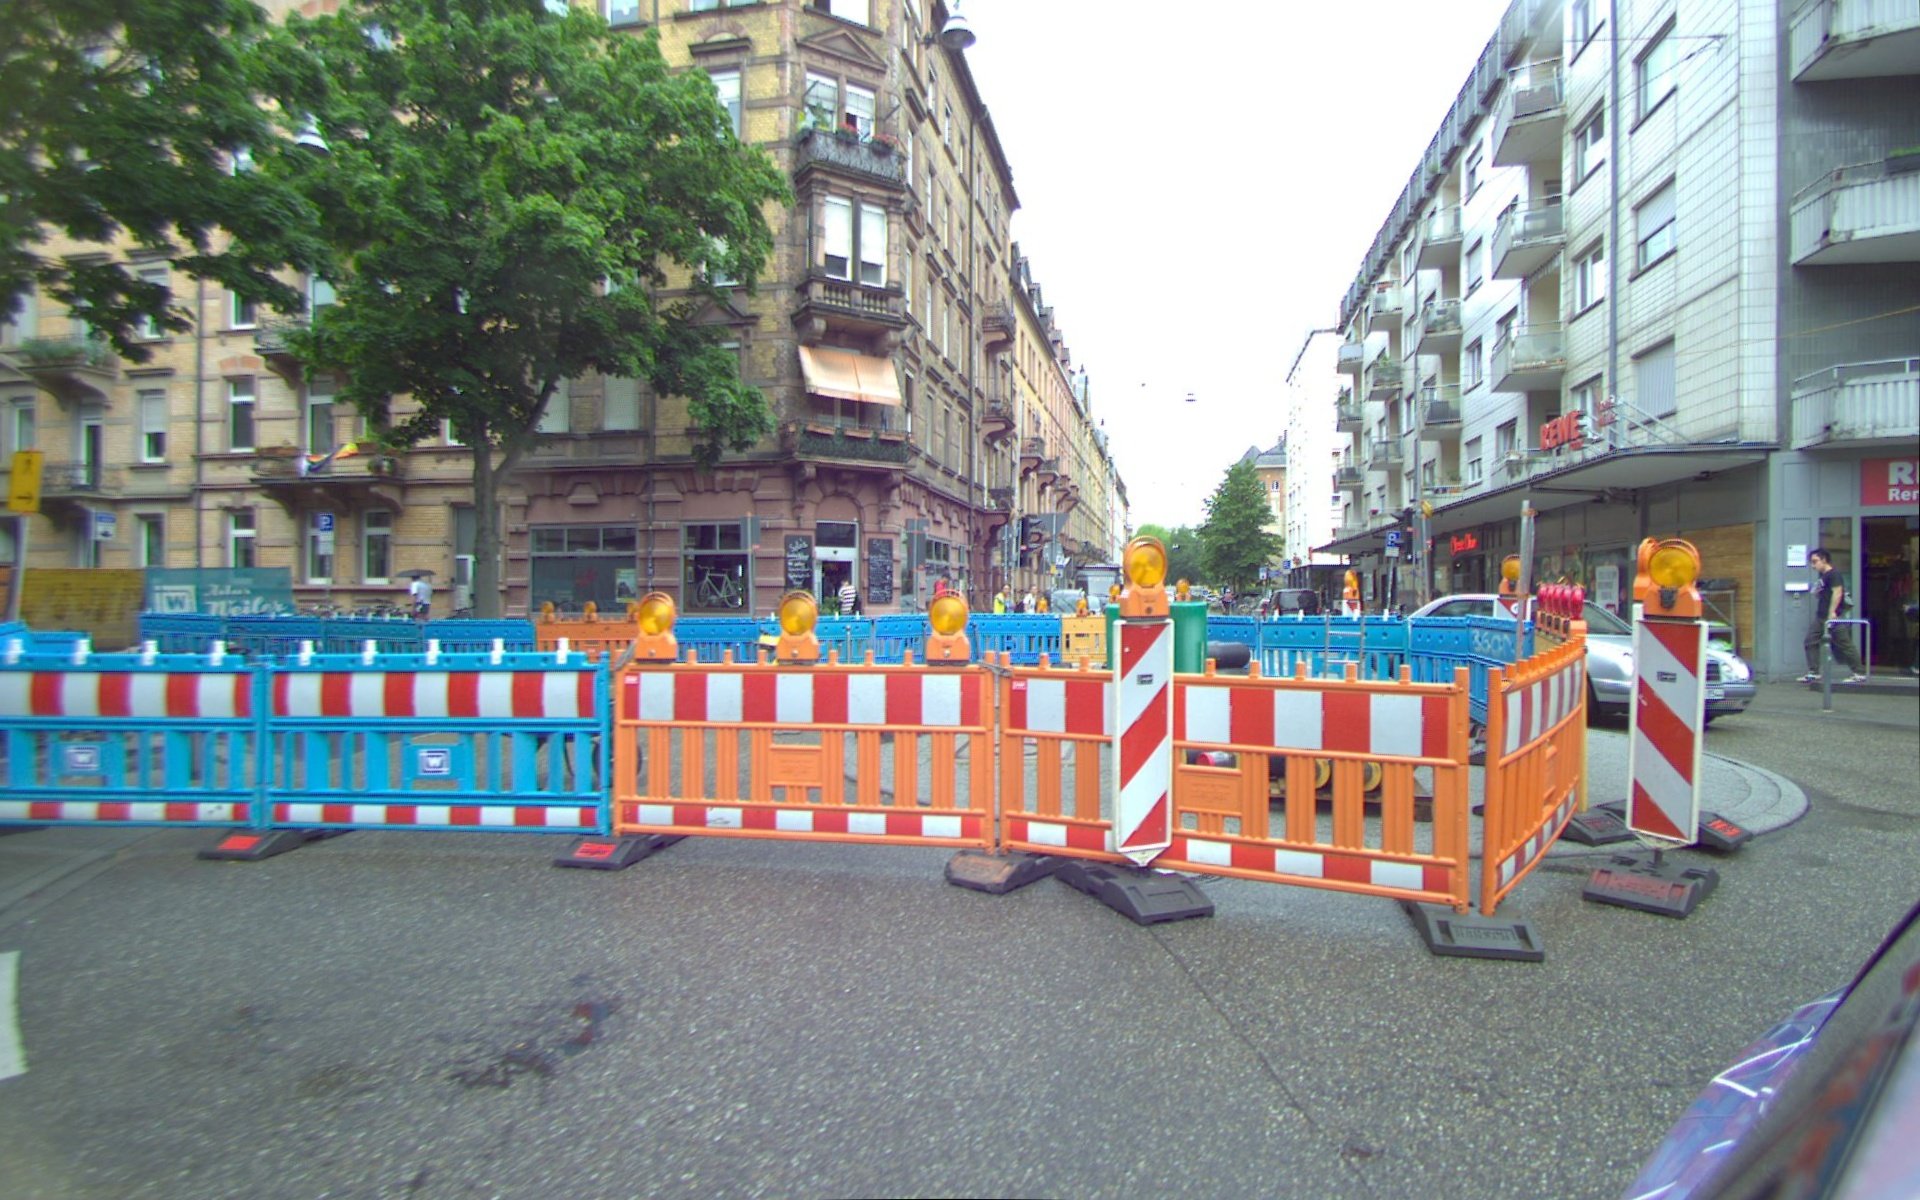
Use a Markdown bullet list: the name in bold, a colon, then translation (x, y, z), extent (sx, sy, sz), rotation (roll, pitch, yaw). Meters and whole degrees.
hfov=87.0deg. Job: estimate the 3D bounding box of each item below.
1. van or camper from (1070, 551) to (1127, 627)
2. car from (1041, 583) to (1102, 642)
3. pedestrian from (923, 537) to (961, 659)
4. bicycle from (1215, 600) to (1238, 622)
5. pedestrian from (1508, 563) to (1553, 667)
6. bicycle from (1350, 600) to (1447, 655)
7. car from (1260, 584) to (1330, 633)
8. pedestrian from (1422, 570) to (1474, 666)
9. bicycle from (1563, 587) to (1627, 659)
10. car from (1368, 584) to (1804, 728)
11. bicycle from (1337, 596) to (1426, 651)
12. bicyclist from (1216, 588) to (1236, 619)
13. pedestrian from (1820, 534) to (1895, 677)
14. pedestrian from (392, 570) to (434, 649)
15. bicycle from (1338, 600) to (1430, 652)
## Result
- **van or camper**: translation (6.690, -0.491, 48.349), extent (2.374, 3.369, 7.051), rotation (0, 0, 10)
- **car**: translation (3.707, 0.365, 33.181), extent (1.870, 1.812, 3.991), rotation (0, 0, 8)
- **pedestrian**: translation (-0.404, -0.041, 22.254), extent (0.681, 2.641, 0.541), rotation (0, 0, -19)
- **bicycle**: translation (14.510, 0.599, 55.231), extent (0.978, 1.170, 2.867), rotation (0, 0, 11)
- **pedestrian**: translation (10.535, 0.261, 18.705), extent (0.597, 1.871, 0.764), rotation (0, 0, 21)
- **bicycle**: translation (10.330, 0.643, 23.918), extent (1.997, 1.211, 0.547), rotation (-3, -1, 19)
- **car**: translation (13.066, 0.325, 39.694), extent (1.870, 1.812, 3.991), rotation (0, 0, 8)
- **pedestrian**: translation (9.704, 0.351, 20.139), extent (0.853, 1.871, 0.764), rotation (0, 0, 21)
- **bicycle**: translation (12.999, 0.457, 20.769), extent (0.444, 1.391, 2.015), rotation (-3, -1, 14)
- **car**: translation (7.277, 0.521, 12.590), extent (1.822, 1.416, 4.988), rotation (0, 1, -8)
- **bicycle**: translation (10.733, 0.600, 25.845), extent (1.997, 1.294, 0.547), rotation (-3, -1, 19)
- **bicyclist**: translation (14.508, 0.185, 55.225), extent (0.978, 1.620, 1.258), rotation (0, 0, 11)
- **pedestrian**: translation (12.471, 0.070, 14.066), extent (0.595, 1.921, 0.718), rotation (-1, 0, -42)
- **pedestrian**: translation (-13.655, 0.224, 25.262), extent (0.630, 1.943, 0.671), rotation (0, 0, 13)
- **bicycle**: translation (10.565, 0.650, 25.271), extent (2.006, 1.211, 0.547), rotation (-3, -1, 19)
